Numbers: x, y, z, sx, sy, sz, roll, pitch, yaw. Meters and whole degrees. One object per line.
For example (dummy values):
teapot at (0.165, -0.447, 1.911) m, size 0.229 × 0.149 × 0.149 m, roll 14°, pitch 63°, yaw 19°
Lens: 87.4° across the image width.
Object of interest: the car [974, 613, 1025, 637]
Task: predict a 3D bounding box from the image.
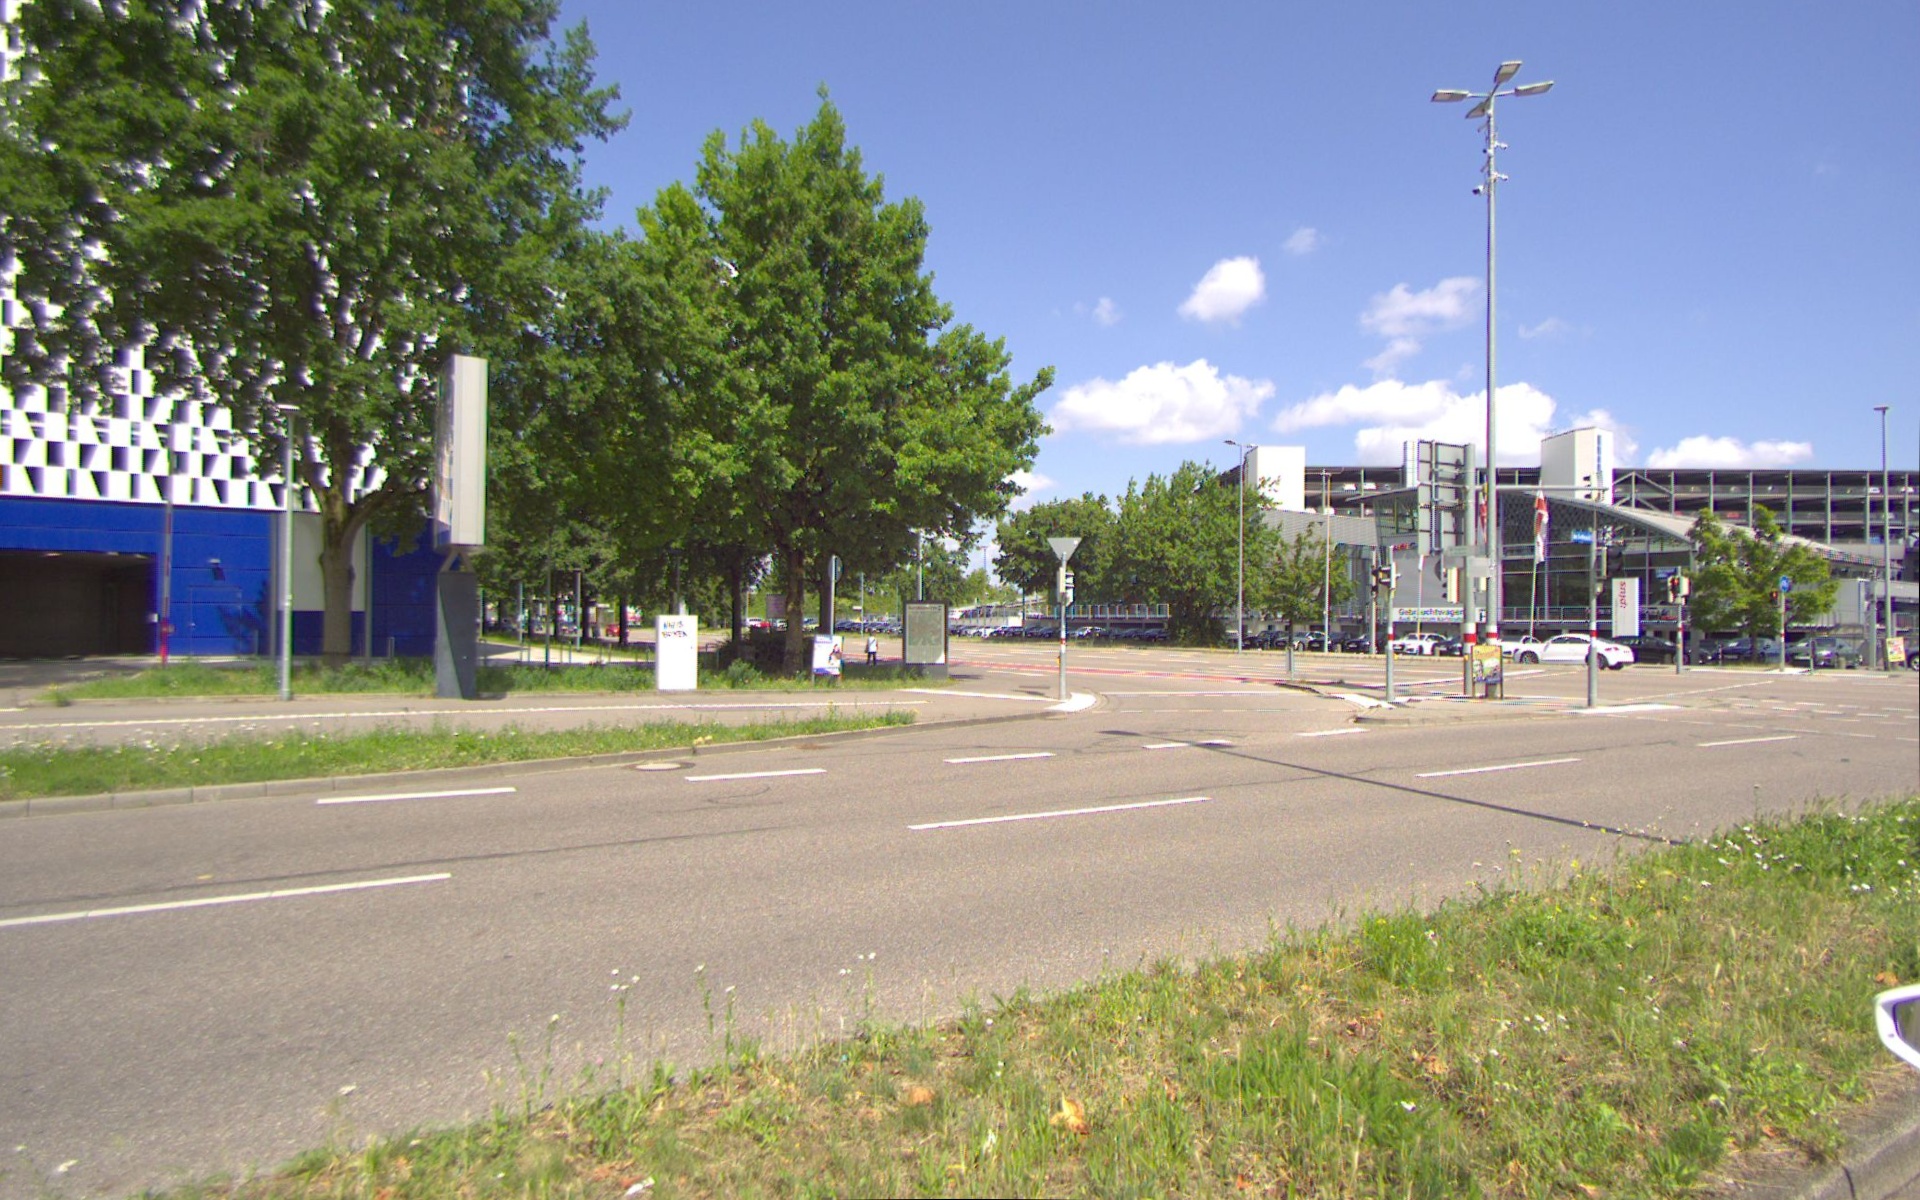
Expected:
car at (3.767, 2.399, 94.480) m, size 4.544 × 2.076 × 1.888 m, roll 3°, pitch -1°, yaw -35°

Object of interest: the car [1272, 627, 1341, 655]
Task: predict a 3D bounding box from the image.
car at (22.568, 2.680, 65.349) m, size 4.546 × 1.423 × 1.888 m, roll 6°, pitch -2°, yaw -35°

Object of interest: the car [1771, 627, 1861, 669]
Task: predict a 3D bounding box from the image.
car at (37.298, 2.108, 43.760) m, size 4.544 × 1.700 × 1.888 m, roll 3°, pitch -1°, yaw -35°

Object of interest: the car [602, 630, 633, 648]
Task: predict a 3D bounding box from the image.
car at (-35.780, 4.072, 104.937) m, size 1.831 × 1.622 × 4.518 m, roll 2°, pitch -1°, yaw -36°

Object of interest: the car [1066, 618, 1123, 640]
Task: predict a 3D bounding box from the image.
car at (11.189, 2.405, 83.419) m, size 4.544 × 1.700 × 1.888 m, roll 3°, pitch -1°, yaw -35°

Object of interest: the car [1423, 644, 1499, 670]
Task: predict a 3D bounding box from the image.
car at (28.341, 3.233, 56.797) m, size 4.544 × 1.314 × 1.888 m, roll 3°, pitch -1°, yaw -35°

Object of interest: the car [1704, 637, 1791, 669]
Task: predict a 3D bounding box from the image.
car at (35.974, 2.423, 45.870) m, size 4.544 × 1.314 × 1.888 m, roll 3°, pitch -1°, yaw -35°

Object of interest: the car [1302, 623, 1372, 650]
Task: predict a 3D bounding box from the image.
car at (23.784, 2.326, 63.337) m, size 4.545 × 1.402 × 1.888 m, roll 5°, pitch -2°, yaw -35°

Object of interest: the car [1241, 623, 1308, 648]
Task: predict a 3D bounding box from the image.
car at (21.119, 2.402, 67.415) m, size 4.545 × 1.423 × 1.888 m, roll 4°, pitch -1°, yaw -35°

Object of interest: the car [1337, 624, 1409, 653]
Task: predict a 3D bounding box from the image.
car at (25.194, 2.363, 61.271) m, size 4.546 × 1.314 × 1.888 m, roll 7°, pitch -3°, yaw -35°

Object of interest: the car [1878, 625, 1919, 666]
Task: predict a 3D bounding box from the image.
car at (42.636, 2.045, 43.028) m, size 1.887 × 1.700 × 4.548 m, roll 3°, pitch -1°, yaw -33°

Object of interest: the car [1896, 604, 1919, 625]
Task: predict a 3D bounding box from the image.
car at (74.076, 1.157, 76.463) m, size 1.752 × 1.572 × 3.951 m, roll 3°, pitch -1°, yaw -41°

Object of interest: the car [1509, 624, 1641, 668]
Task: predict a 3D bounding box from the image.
car at (23.887, 1.779, 39.150) m, size 1.842 × 1.461 × 3.962 m, roll 3°, pitch -1°, yaw -34°

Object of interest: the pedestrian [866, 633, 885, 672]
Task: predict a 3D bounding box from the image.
pedestrian at (-3.509, 2.171, 41.755) m, size 0.499 × 1.576 × 0.753 m, roll 1°, pitch -1°, yaw -34°

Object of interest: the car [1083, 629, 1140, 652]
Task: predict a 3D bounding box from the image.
car at (12.356, 3.294, 81.753) m, size 4.544 × 1.700 × 1.888 m, roll 3°, pitch -1°, yaw -35°

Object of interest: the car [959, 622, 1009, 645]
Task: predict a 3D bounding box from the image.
car at (2.354, 3.257, 97.130) m, size 4.544 × 2.076 × 1.888 m, roll 3°, pitch -1°, yaw -35°

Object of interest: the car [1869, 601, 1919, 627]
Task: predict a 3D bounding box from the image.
car at (69.820, 1.035, 73.676) m, size 1.748 × 1.825 × 4.411 m, roll 3°, pitch 0°, yaw -35°

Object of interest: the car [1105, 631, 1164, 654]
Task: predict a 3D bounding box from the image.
car at (13.792, 3.367, 79.358) m, size 4.544 × 1.700 × 1.888 m, roll 3°, pitch -1°, yaw -35°

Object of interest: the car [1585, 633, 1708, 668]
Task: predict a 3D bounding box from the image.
car at (33.764, 2.474, 49.535) m, size 1.779 × 1.483 × 4.710 m, roll 5°, pitch -4°, yaw -35°

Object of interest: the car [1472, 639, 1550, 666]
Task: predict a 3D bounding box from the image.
car at (29.975, 2.869, 54.571) m, size 4.544 × 1.314 × 1.888 m, roll 3°, pitch -1°, yaw -35°

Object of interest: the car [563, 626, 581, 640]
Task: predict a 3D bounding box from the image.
car at (-47.562, 4.020, 123.042) m, size 1.871 × 1.575 × 4.559 m, roll 1°, pitch -1°, yaw -24°

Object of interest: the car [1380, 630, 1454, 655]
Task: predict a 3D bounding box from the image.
car at (26.823, 2.483, 58.904) m, size 4.544 × 1.314 × 1.888 m, roll 3°, pitch -1°, yaw -35°
